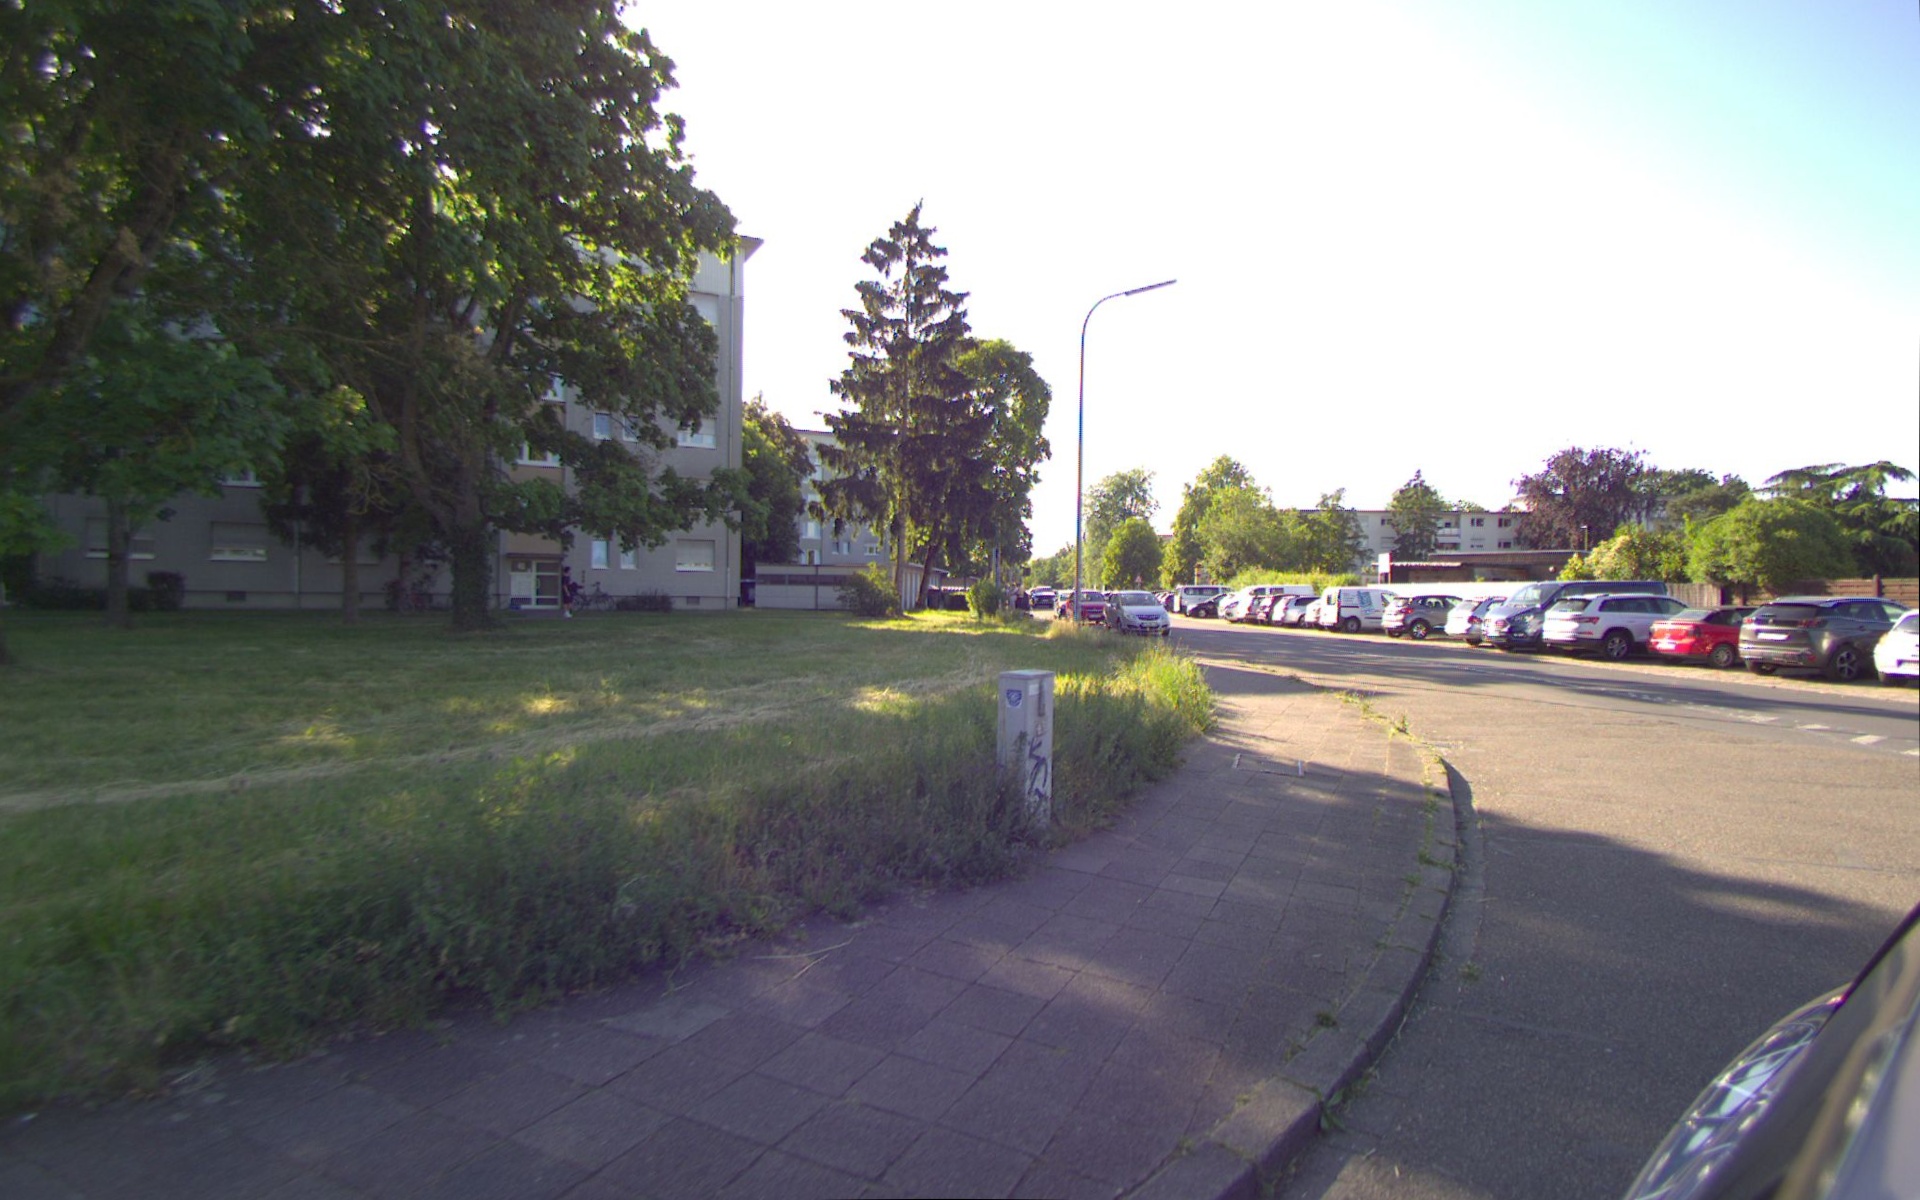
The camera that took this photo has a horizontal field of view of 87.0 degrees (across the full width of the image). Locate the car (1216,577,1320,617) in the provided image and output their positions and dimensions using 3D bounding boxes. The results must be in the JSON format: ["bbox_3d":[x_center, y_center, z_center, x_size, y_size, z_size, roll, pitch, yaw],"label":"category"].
[{"bbox_3d":[15.996,-0.174,52.688,4.711,1.944,2.083,-2,1,-2],"label":"car"}]

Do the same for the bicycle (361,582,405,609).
[{"bbox_3d":[-19.143,-0.167,33.604,0.503,0.857,1.681,-1,1,-1],"label":"bicycle"}]

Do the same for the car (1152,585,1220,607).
[{"bbox_3d":[16.174,-0.289,72.604,4.476,1.498,1.746,-1,0,4],"label":"car"}]

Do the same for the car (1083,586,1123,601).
[{"bbox_3d":[14.983,-0.720,105.950,3.917,1.475,1.566,-2,1,-21],"label":"car"}]

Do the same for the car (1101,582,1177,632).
[{"bbox_3d":[5.986,0.180,34.247,1.703,1.562,3.792,0,1,-3],"label":"car"}]

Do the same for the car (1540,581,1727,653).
[{"bbox_3d":[16.901,0.395,25.492,3.552,1.627,1.735,-2,1,-3],"label":"car"}]

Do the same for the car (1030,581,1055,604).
[{"bbox_3d":[6.947,-0.617,85.753,1.878,1.863,5.270,-1,0,3],"label":"car"}]

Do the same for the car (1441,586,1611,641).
[{"bbox_3d":[17.091,0.380,30.698,4.070,1.511,1.927,-1,1,-2],"label":"car"}]

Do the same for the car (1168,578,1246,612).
[{"bbox_3d":[15.616,-0.352,64.129,4.411,2.001,1.999,-1,1,3],"label":"car"}]

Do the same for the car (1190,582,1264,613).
[{"bbox_3d":[16.041,-0.170,60.979,4.095,1.727,1.880,-1,1,8],"label":"car"}]

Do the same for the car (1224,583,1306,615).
[{"bbox_3d":[16.732,-0.087,55.618,3.927,1.602,1.883,-1,1,3],"label":"car"}]

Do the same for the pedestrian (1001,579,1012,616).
[{"bbox_3d":[1.964,-0.104,42.661,0.355,1.521,0.501,2,1,-3],"label":"pedestrian"}]

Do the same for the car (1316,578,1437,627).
[{"bbox_3d":[16.408,0.092,39.983,3.911,1.803,1.927,-2,0,-4],"label":"car"}]

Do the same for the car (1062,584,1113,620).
[{"bbox_3d":[5.561,0.063,44.482,1.549,1.464,3.792,0,1,-3],"label":"car"}]

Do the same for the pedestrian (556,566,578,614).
[{"bbox_3d":[-13.783,-0.358,35.517,0.483,1.683,0.534,-1,1,10],"label":"pedestrian"}]

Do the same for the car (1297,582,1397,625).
[{"bbox_3d":[16.217,0.132,42.496,3.457,1.506,1.730,-3,3,-2],"label":"car"}]

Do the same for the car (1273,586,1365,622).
[{"bbox_3d":[15.893,0.165,44.938,3.460,1.508,1.636,-1,1,2],"label":"car"}]

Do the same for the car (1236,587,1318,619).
[{"bbox_3d":[15.634,0.144,49.997,3.455,1.464,1.638,-2,1,-5],"label":"car"}]

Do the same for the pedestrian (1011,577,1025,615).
[{"bbox_3d":[2.481,-0.156,43.076,0.475,1.584,0.595,2,1,9],"label":"pedestrian"}]

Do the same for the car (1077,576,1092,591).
[{"bbox_3d":[17.635,-2.320,143.408,1.877,1.966,4.506,3,1,4],"label":"car"}]

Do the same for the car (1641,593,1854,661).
[{"bbox_3d":[17.946,0.584,23.152,3.552,1.361,1.735,-2,1,-3],"label":"car"}]

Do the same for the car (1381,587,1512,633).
[{"bbox_3d":[16.975,0.319,35.412,3.749,1.551,1.792,0,1,-6],"label":"car"}]

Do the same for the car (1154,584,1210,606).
[{"bbox_3d":[16.801,-0.390,76.752,3.928,1.498,1.789,-1,0,4],"label":"car"}]

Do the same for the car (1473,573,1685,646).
[{"bbox_3d":[17.152,0.232,28.162,4.788,1.939,2.003,0,1,-7],"label":"car"}]

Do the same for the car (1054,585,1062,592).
[{"bbox_3d":[23.975,-2.873,248.173,1.604,1.649,3.553,3,1,3],"label":"car"}]

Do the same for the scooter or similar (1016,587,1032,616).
[{"bbox_3d":[2.797,0.046,44.134,0.613,1.242,0.905,1,1,-1],"label":"scooter or similar"}]

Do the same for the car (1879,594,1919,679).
[{"bbox_3d":[18.625,0.642,17.892,3.622,1.477,1.637,0,1,-10],"label":"car"}]

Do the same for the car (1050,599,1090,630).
[{"bbox_3d":[5.624,0.713,52.123,1.621,1.420,3.883,1,1,0],"label":"car"}]

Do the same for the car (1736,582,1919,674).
[{"bbox_3d":[18.155,0.500,20.396,3.917,1.632,1.822,-2,1,-10],"label":"car"}]

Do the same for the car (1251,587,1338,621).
[{"bbox_3d":[15.653,0.175,47.493,3.456,1.508,1.637,-1,-1,-2],"label":"car"}]

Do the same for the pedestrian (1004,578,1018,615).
[{"bbox_3d":[2.221,-0.144,44.105,0.477,1.584,0.469,2,1,-4],"label":"pedestrian"}]
